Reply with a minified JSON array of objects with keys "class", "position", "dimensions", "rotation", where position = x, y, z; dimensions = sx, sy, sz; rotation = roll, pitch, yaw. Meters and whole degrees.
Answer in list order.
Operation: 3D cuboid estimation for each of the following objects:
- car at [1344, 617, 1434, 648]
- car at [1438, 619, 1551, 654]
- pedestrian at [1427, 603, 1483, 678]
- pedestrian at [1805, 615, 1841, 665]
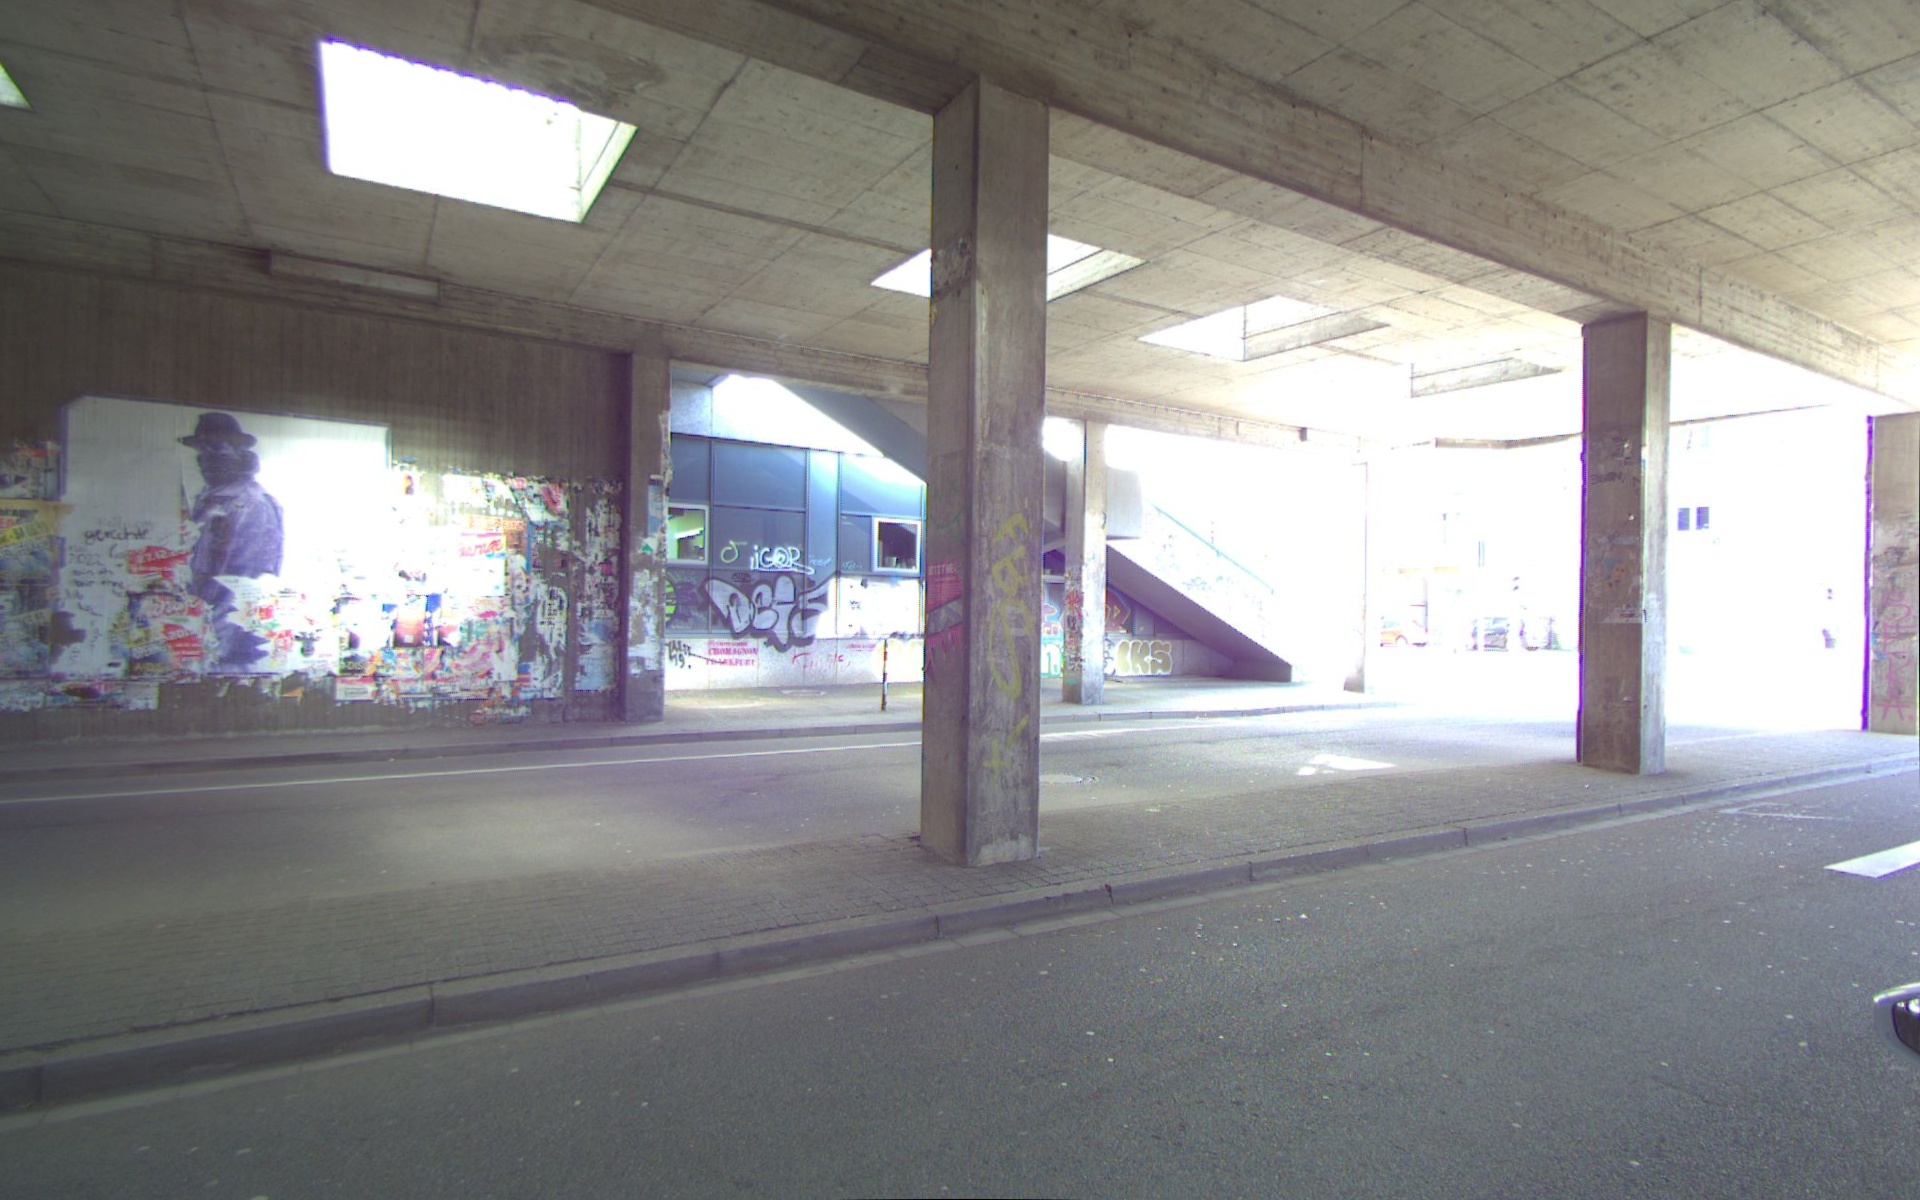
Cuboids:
[{"class":"car","position":[22.484,1.686,52.786],"dimensions":[1.905,1.428,3.965],"rotation":[2,0,-32]},{"class":"car","position":[25.316,1.705,47.711],"dimensions":[1.905,1.428,4.382],"rotation":[2,0,-32]},{"class":"pedestrian","position":[12.196,0.978,24.751],"dimensions":[0.784,1.785,0.925],"rotation":[2,0,-28]},{"class":"pedestrian","position":[29.150,1.346,33.928],"dimensions":[0.732,1.659,0.669],"rotation":[2,0,-30]}]
